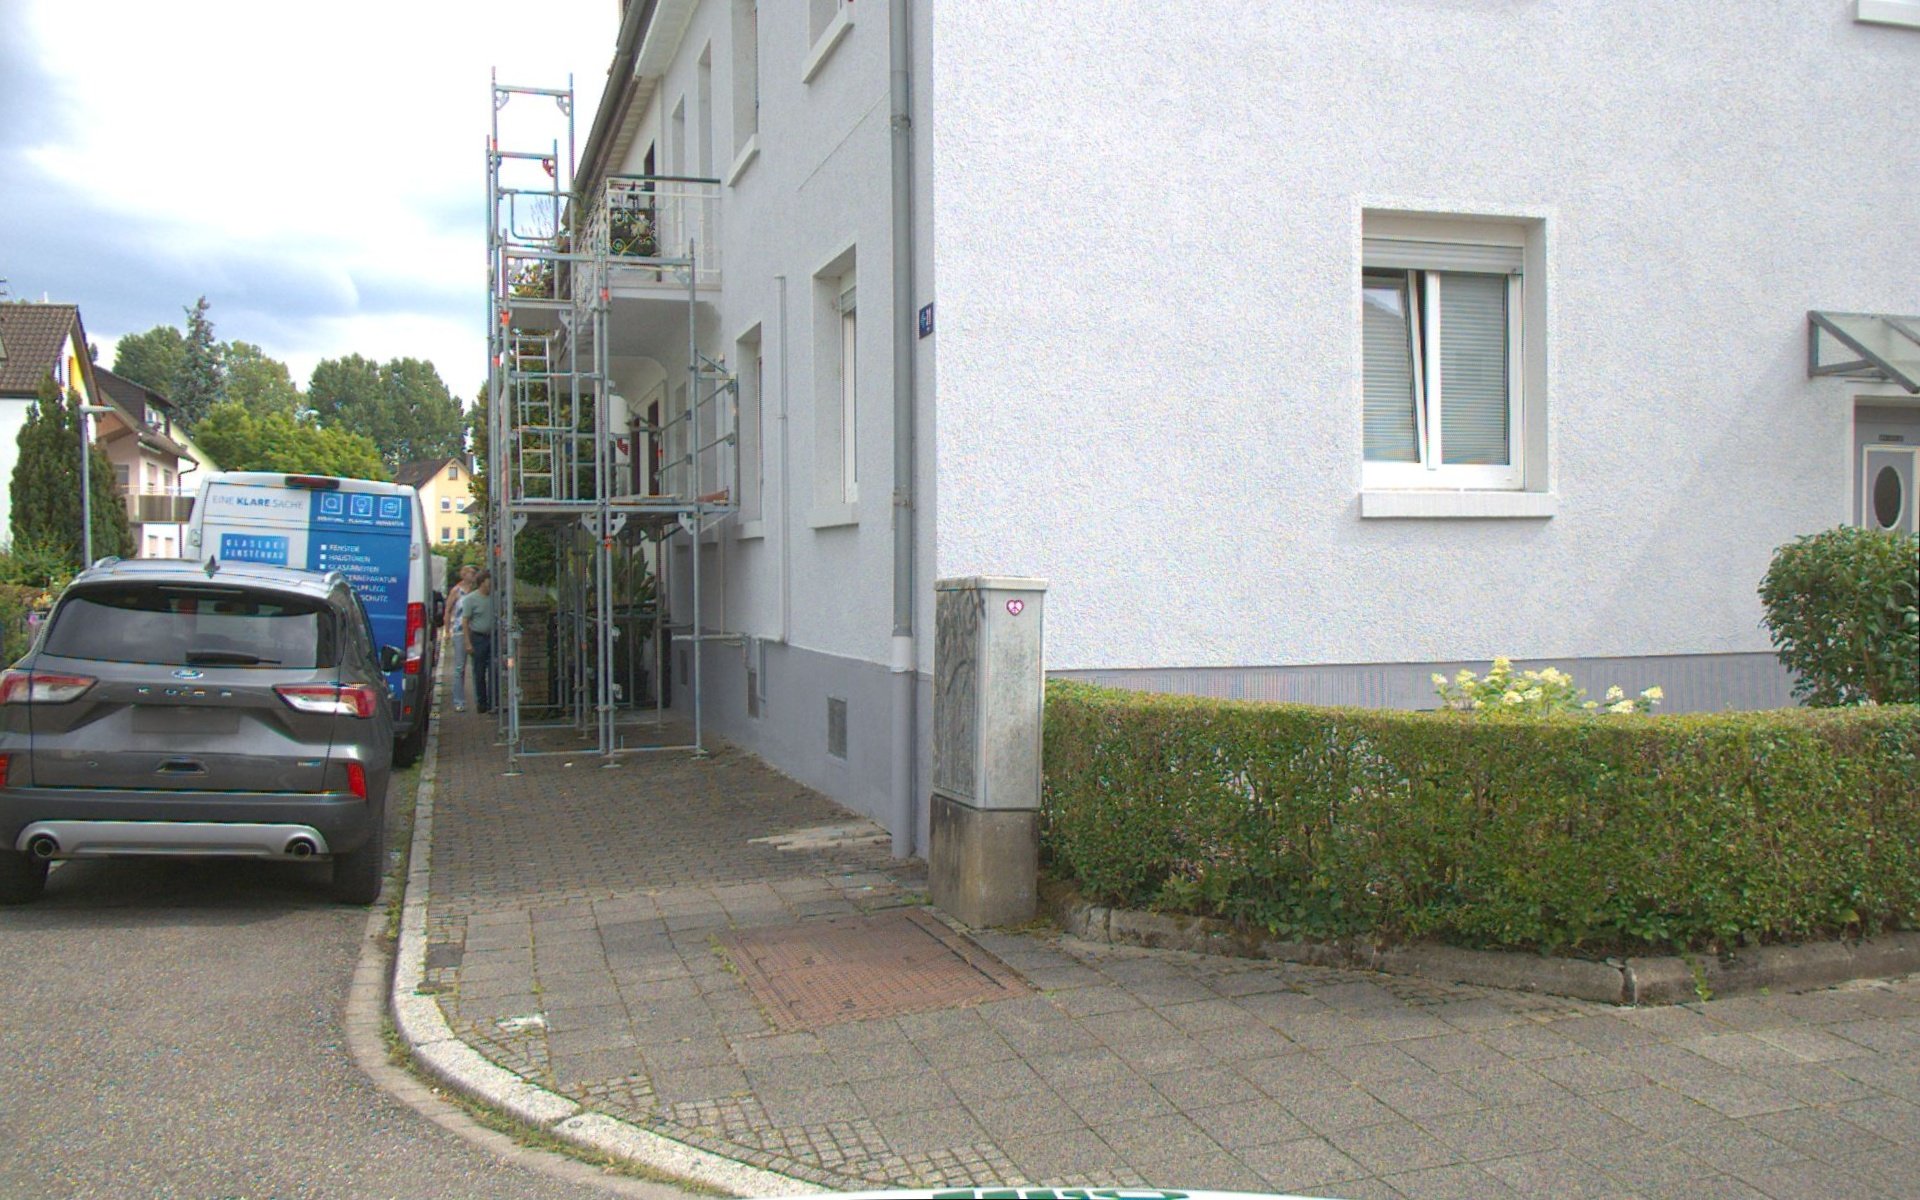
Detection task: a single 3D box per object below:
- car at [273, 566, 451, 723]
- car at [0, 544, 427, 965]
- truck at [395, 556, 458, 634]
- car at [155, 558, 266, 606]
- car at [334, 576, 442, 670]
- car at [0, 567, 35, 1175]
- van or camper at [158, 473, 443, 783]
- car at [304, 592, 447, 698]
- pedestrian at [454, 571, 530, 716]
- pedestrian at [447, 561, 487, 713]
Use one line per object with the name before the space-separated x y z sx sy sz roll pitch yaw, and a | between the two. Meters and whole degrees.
car | -7.830 0.488 21.745 1.964 1.803 4.317 -1 1 -20
car | -4.089 0.618 9.250 1.964 1.757 4.317 -1 1 -20
truck | -19.584 -0.217 60.614 2.098 2.703 4.559 -1 1 -19
car | -29.770 -0.725 65.821 3.933 1.803 1.857 -1 -1 -23
car | -11.841 0.409 34.252 1.964 1.780 4.317 -1 1 -20
car | -2.938 0.683 2.291 1.784 1.546 4.030 0 0 -12
van or camper | -6.186 0.174 16.098 2.158 2.502 5.029 -1 1 -18
car | -9.361 0.649 26.543 1.964 1.481 4.317 -1 1 -20
pedestrian | -5.494 0.501 19.426 0.592 1.658 0.622 -2 -1 41
pedestrian | -5.918 0.443 19.857 0.401 1.793 0.510 -1 -1 -21
